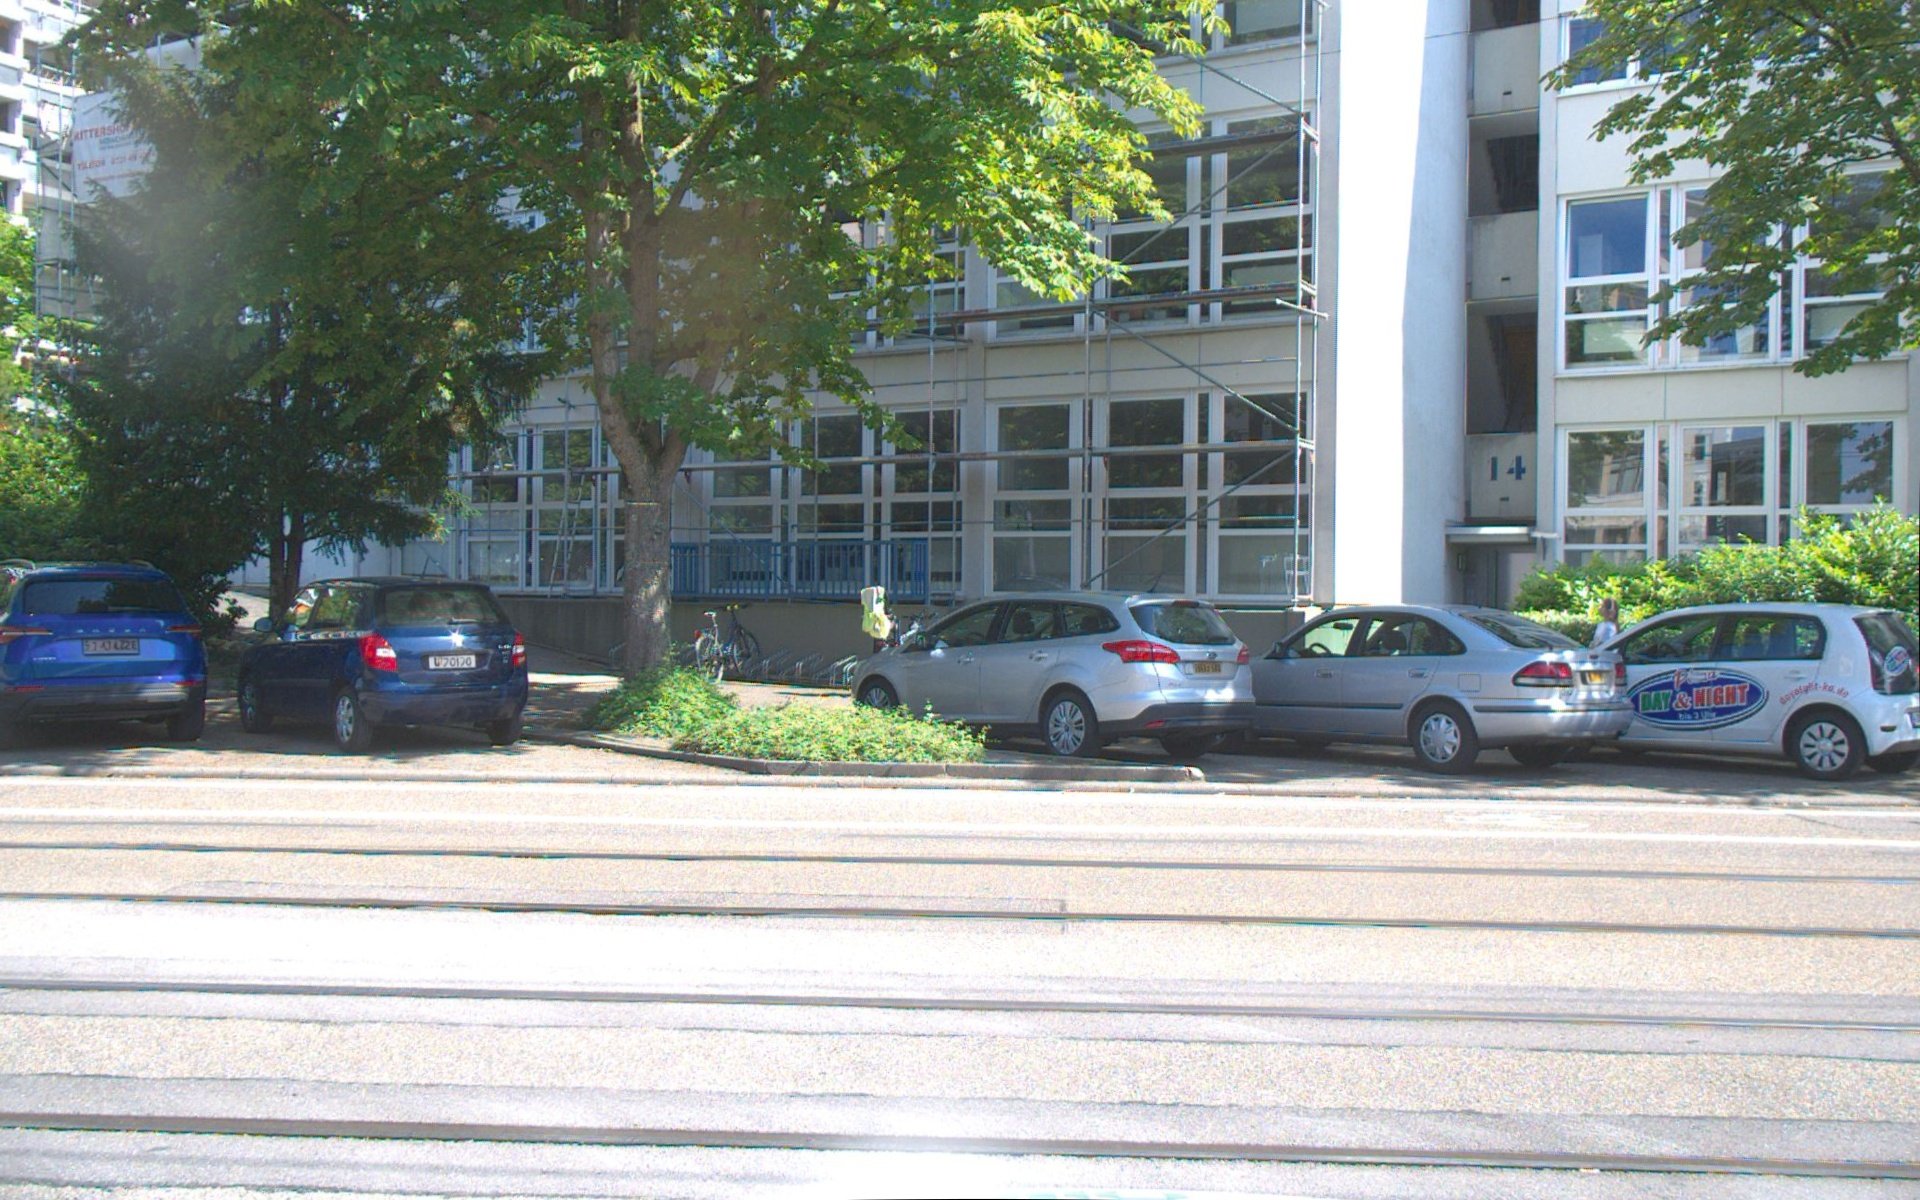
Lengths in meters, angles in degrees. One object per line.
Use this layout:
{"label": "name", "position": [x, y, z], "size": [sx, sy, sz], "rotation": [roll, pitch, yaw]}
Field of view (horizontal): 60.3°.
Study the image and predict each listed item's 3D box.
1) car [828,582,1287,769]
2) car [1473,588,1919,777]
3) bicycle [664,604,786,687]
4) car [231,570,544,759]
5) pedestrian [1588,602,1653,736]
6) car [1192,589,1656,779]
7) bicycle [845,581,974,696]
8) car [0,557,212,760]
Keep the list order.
{"label": "car", "position": [0.781, 0.610, 15.617], "size": [1.769, 1.512, 4.367], "rotation": [1, -1, -42]}
{"label": "car", "position": [6.887, 0.696, 15.259], "size": [1.599, 1.512, 3.886], "rotation": [1, -1, -41]}
{"label": "bicycle", "position": [-3.271, 0.614, 23.273], "size": [0.726, 1.105, 2.203], "rotation": [0, 0, 21]}
{"label": "car", "position": [-5.421, 0.537, 15.466], "size": [1.563, 1.558, 3.405], "rotation": [1, -1, -42]}
{"label": "pedestrian", "position": [7.482, 0.774, 18.739], "size": [0.607, 1.486, 0.424], "rotation": [0, -1, 11]}
{"label": "car", "position": [4.119, 0.672, 15.159], "size": [1.598, 1.512, 3.888], "rotation": [1, -1, -40]}
{"label": "bicycle", "position": [-0.647, 0.503, 22.226], "size": [0.649, 1.479, 2.084], "rotation": [0, -1, 33]}
{"label": "car", "position": [-8.463, 0.432, 15.566], "size": [1.762, 1.650, 3.892], "rotation": [0, 2, -38]}
